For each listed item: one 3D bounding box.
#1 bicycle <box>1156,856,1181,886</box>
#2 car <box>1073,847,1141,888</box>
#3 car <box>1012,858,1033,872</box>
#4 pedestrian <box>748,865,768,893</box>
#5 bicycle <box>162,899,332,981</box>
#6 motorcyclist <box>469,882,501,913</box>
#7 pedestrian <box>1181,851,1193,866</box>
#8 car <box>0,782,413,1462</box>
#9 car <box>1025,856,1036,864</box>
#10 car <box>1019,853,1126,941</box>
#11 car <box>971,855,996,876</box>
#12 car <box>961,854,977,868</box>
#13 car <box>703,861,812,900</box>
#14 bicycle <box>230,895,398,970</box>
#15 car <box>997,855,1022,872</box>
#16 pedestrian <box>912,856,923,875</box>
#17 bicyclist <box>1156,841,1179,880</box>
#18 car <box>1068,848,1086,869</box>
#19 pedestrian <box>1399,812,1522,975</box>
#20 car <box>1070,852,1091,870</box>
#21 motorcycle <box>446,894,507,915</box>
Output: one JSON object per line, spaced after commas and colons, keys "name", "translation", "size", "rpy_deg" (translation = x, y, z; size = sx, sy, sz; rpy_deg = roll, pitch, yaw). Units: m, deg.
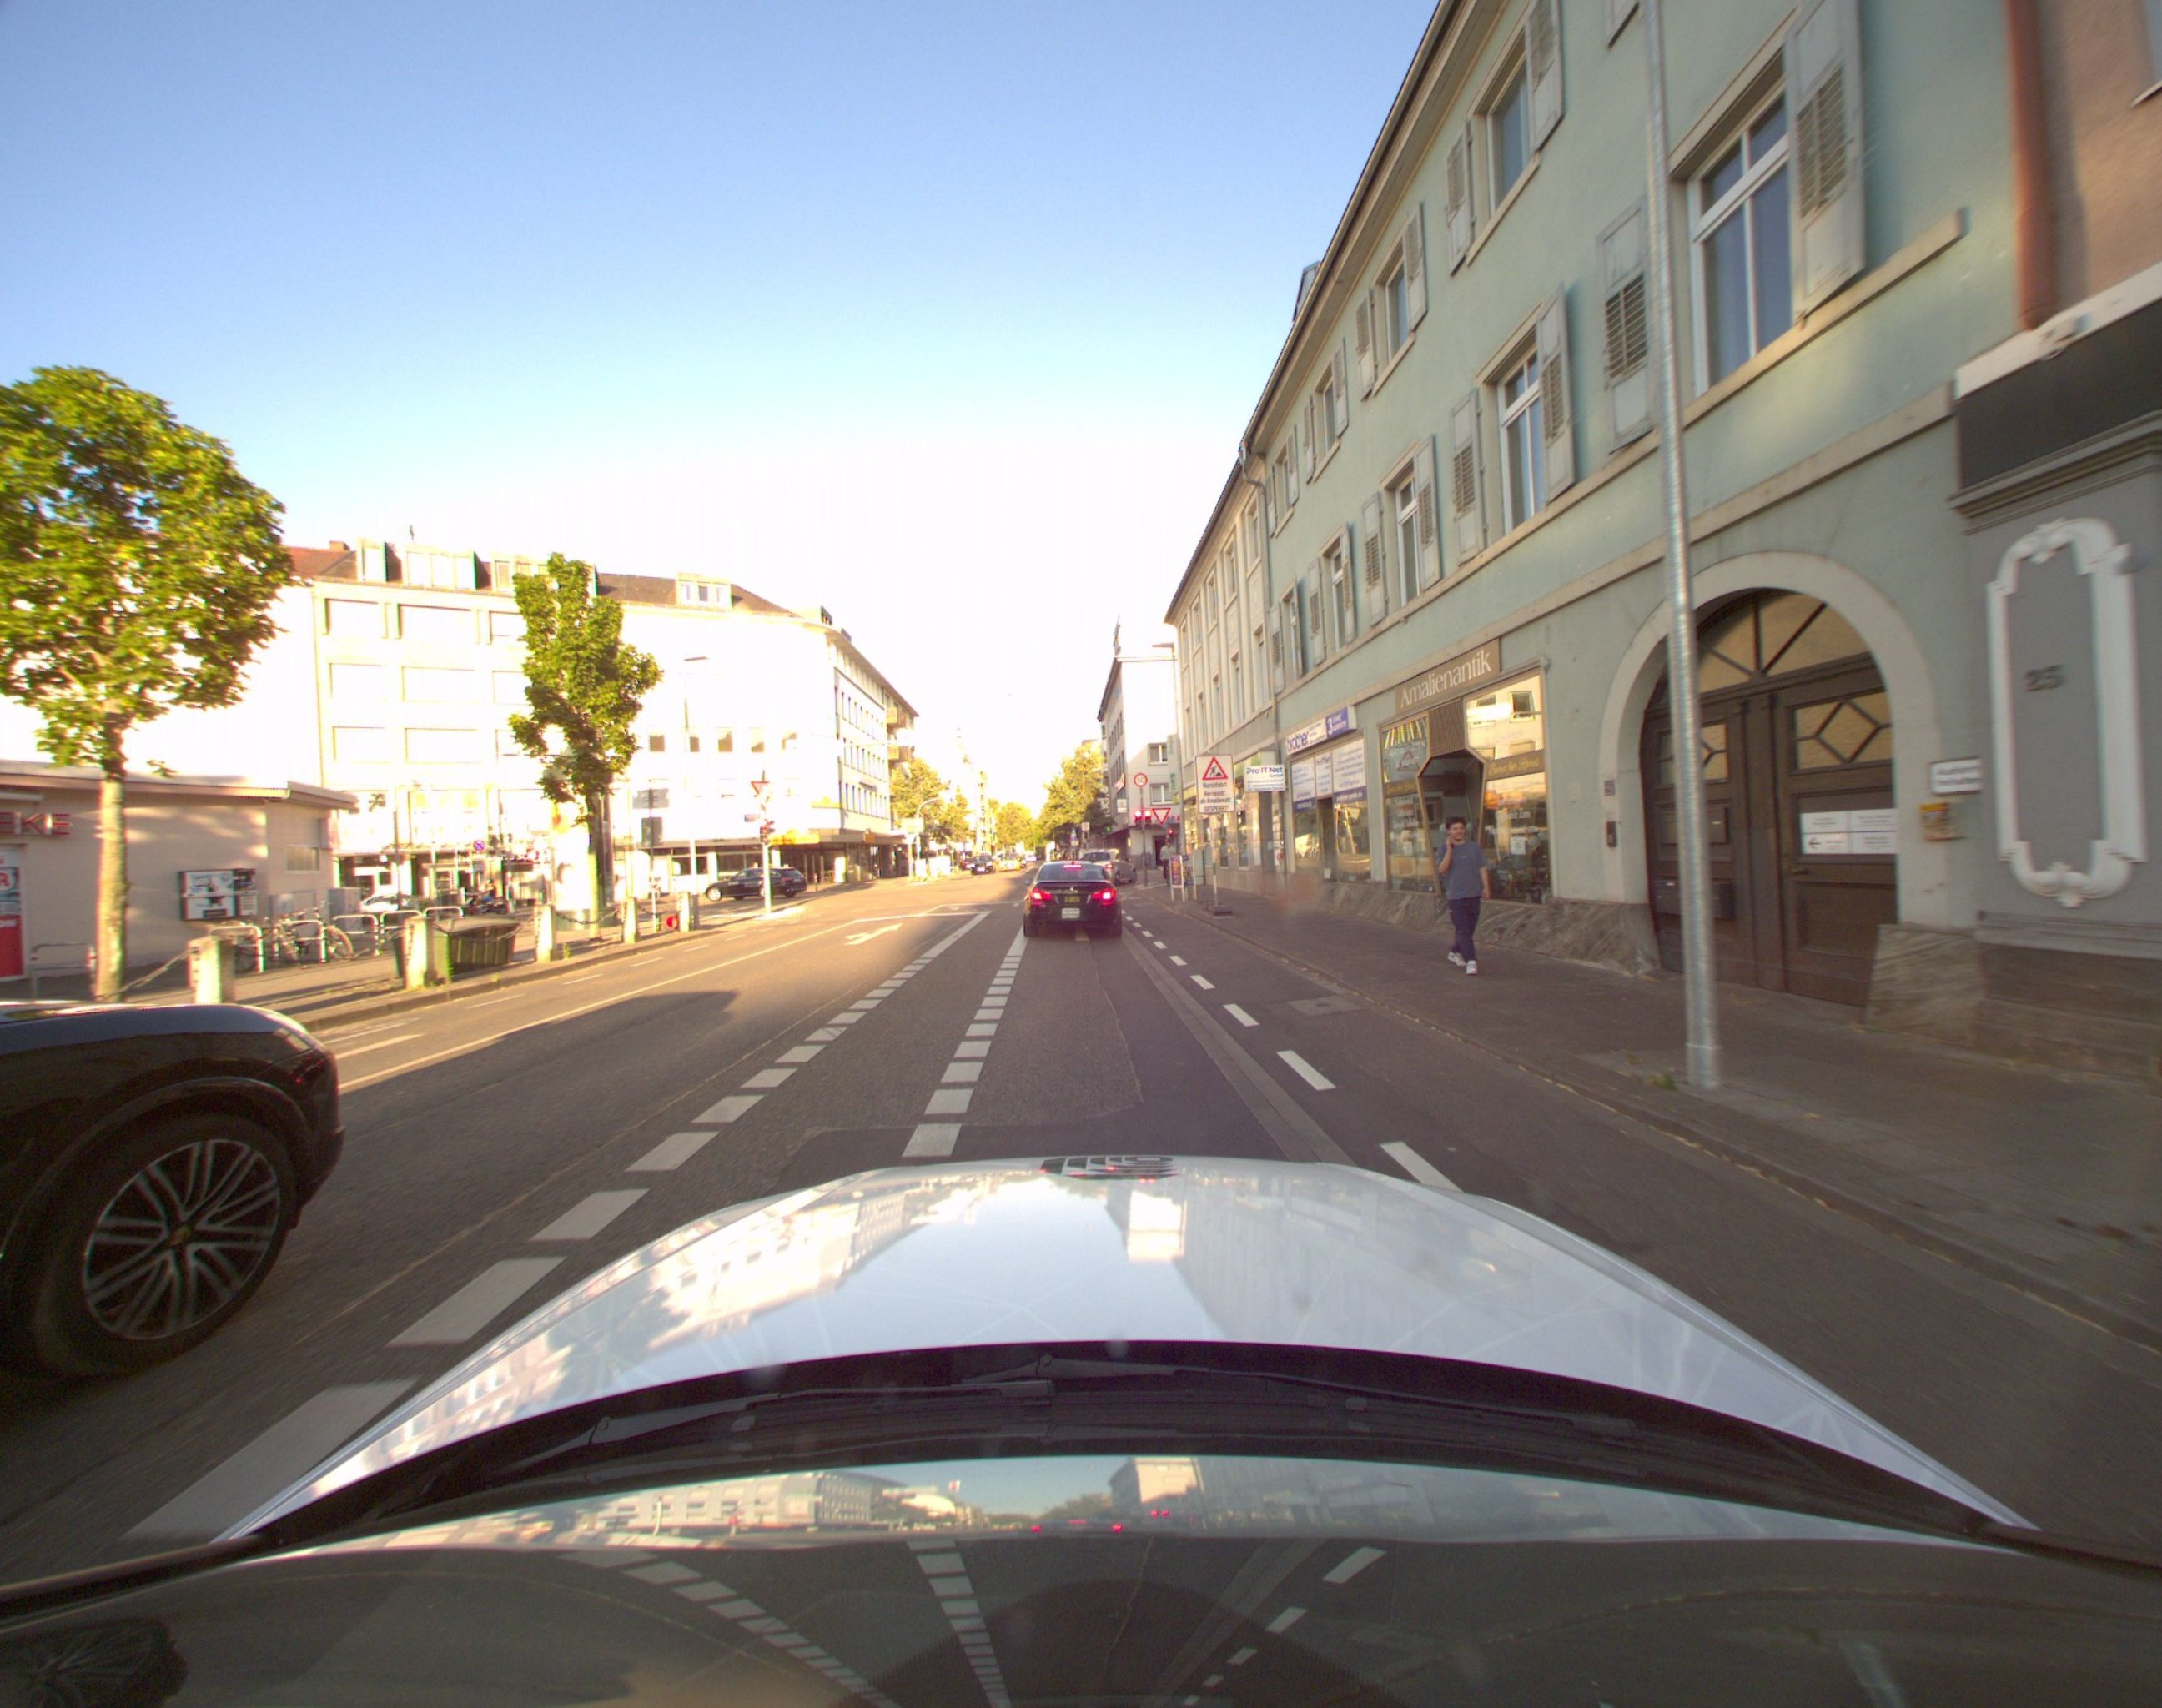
{"name": "bicycle", "translation": [3.458, 0.664, 32.380], "size": [0.688, 1.107, 1.895], "rpy_deg": [-3, 0, -1]}
{"name": "car", "translation": [1.209, 0.562, 35.816], "size": [1.818, 1.576, 4.120], "rpy_deg": [-3, 0, 18]}
{"name": "car", "translation": [-5.747, 1.087, 80.011], "size": [1.733, 1.293, 3.990], "rpy_deg": [-3, 0, -7]}
{"name": "pedestrian", "translation": [-18.779, 1.447, 47.330], "size": [0.951, 1.537, 0.901], "rpy_deg": [-3, 0, -26]}
{"name": "bicycle", "translation": [-14.949, 1.520, 14.646], "size": [1.999, 1.256, 0.949], "rpy_deg": [-3, 0, -1]}
{"name": "motorcyclist", "translation": [-26.231, 1.903, 35.871], "size": [0.997, 1.319, 0.761], "rpy_deg": [-2, 0, -30]}
{"name": "pedestrian", "translation": [8.104, 0.333, 62.093], "size": [0.696, 1.157, 0.843], "rpy_deg": [-3, 0, -4]}
{"name": "car", "translation": [-3.713, 0.732, 1.013], "size": [1.943, 1.714, 4.559], "rpy_deg": [-3, 0, -1]}
{"name": "car", "translation": [-8.920, 1.016, 143.247], "size": [1.733, 1.293, 3.990], "rpy_deg": [-3, 0, -7]}
{"name": "car", "translation": [-0.258, 0.769, 16.889], "size": [1.899, 1.540, 4.445], "rpy_deg": [-1, 0, -3]}
{"name": "car", "translation": [-8.113, 0.924, 67.710], "size": [1.992, 1.618, 3.990], "rpy_deg": [-3, 0, -7]}
{"name": "car", "translation": [-12.946, 0.836, 94.454], "size": [1.733, 1.461, 3.990], "rpy_deg": [-3, 0, -7]}
{"name": "car", "translation": [-15.094, 1.243, 38.079], "size": [4.402, 1.595, 1.886], "rpy_deg": [-3, 0, 15]}
{"name": "bicycle", "translation": [-14.887, 1.505, 15.846], "size": [2.436, 1.256, 0.787], "rpy_deg": [-3, 0, -1]}
{"name": "car", "translation": [-6.470, 0.834, 73.223], "size": [1.992, 1.442, 3.990], "rpy_deg": [-3, 0, -7]}
{"name": "pedestrian", "translation": [-15.196, 1.052, 75.586], "size": [0.821, 1.676, 0.870], "rpy_deg": [-3, 0, -3]}
{"name": "bicyclist", "translation": [3.435, 0.249, 32.434], "size": [0.720, 1.507, 0.899], "rpy_deg": [-3, 0, -1]}
{"name": "car", "translation": [-0.355, 0.423, 76.655], "size": [1.419, 1.854, 3.047], "rpy_deg": [-2, -1, -5]}
{"name": "pedestrian", "translation": [4.104, 0.405, 8.869], "size": [0.822, 1.641, 0.870], "rpy_deg": [-3, 0, -4]}
{"name": "car", "translation": [-0.079, 0.577, 70.263], "size": [1.621, 1.471, 3.392], "rpy_deg": [-2, 0, -2]}
{"name": "motorcycle", "translation": [-26.491, 2.206, 35.747], "size": [2.037, 0.780, 0.658], "rpy_deg": [-2, 0, -27]}
